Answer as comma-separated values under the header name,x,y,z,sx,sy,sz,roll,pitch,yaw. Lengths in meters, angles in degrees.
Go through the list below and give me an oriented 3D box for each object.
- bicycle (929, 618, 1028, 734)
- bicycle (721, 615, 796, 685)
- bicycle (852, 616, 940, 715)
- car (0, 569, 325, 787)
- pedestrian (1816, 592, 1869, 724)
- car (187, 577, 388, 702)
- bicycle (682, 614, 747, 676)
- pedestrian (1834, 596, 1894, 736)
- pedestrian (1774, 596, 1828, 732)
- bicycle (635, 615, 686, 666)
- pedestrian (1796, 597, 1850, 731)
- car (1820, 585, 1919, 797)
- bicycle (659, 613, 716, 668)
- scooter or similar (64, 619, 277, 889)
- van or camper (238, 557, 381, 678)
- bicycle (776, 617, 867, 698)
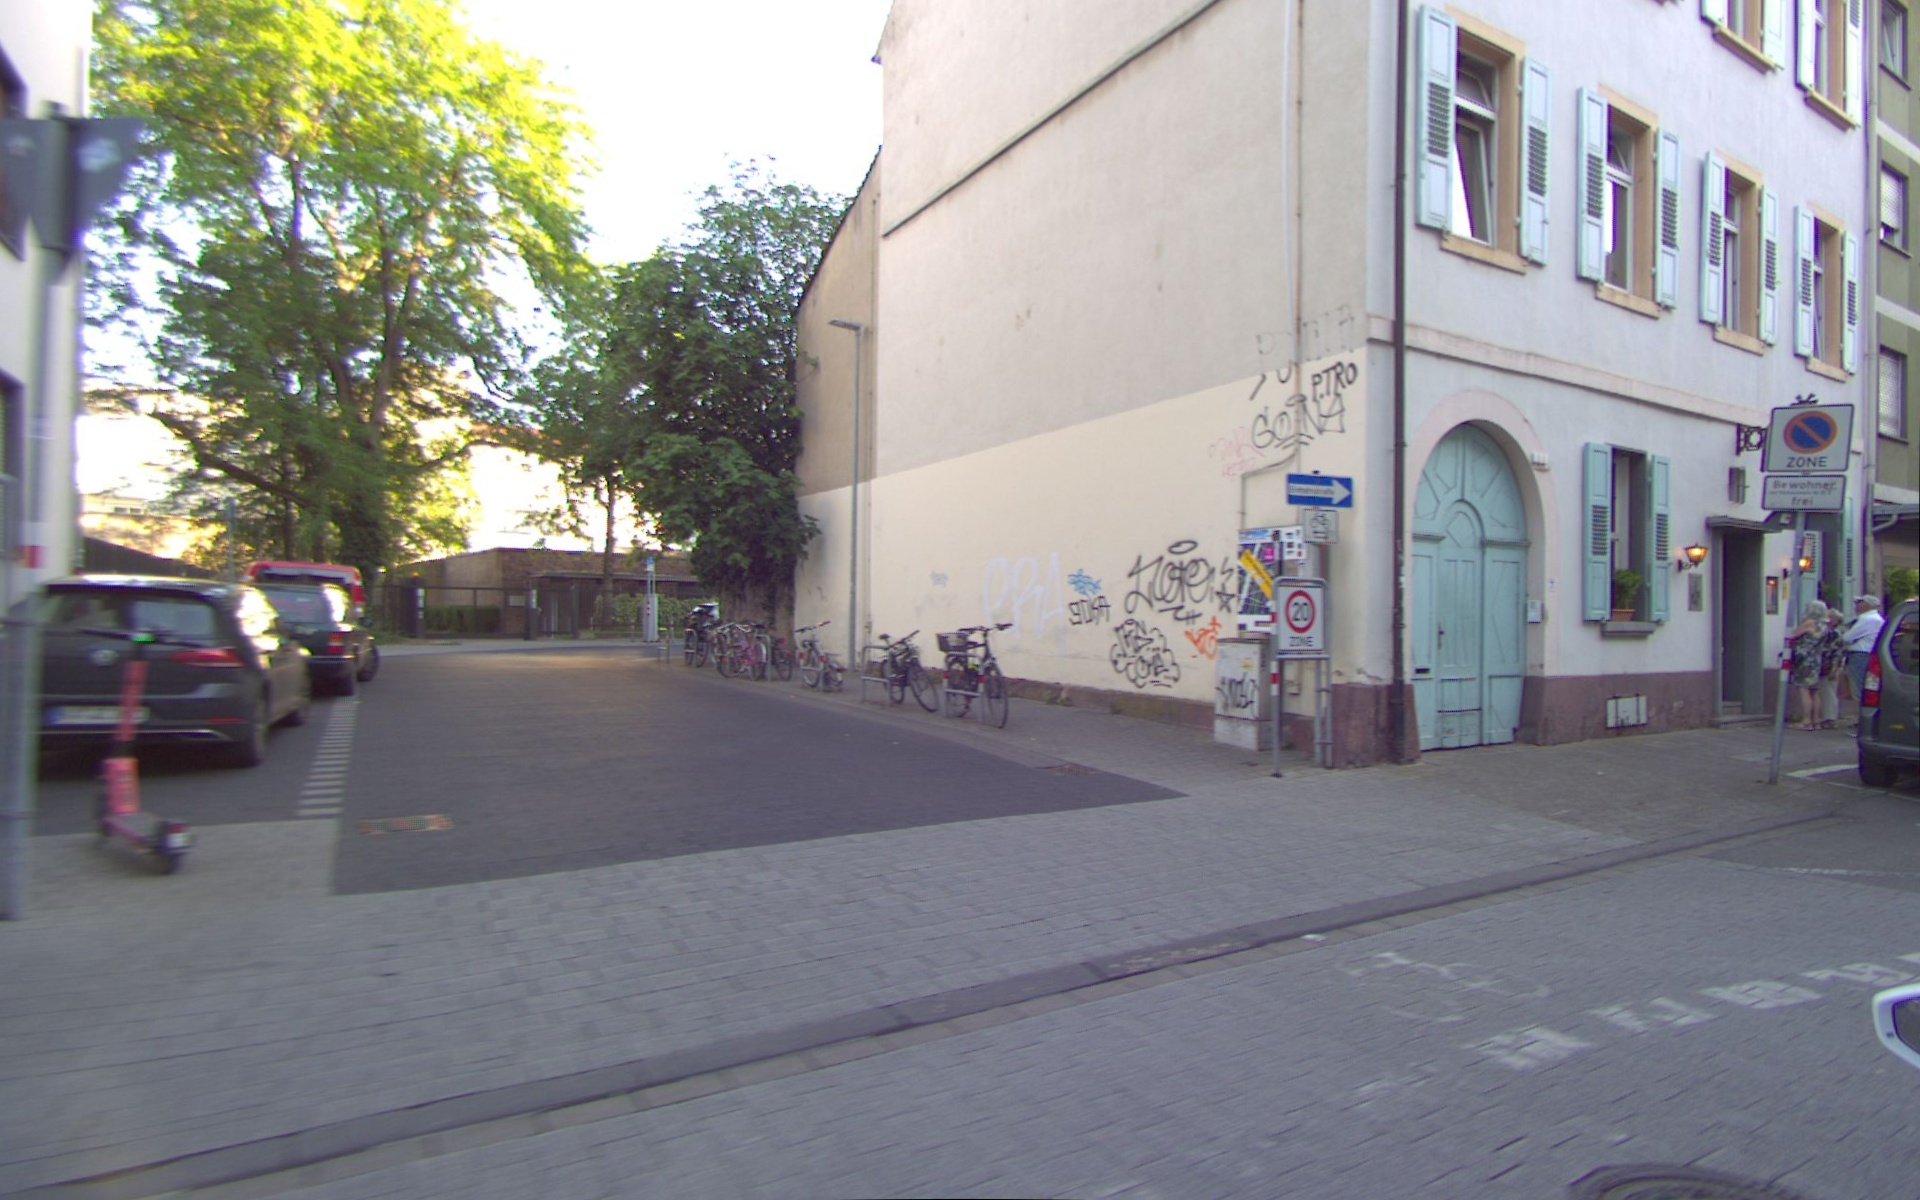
name,x,y,z,sx,sy,sz,roll,pitch,yaw
bicycle,0.178,0.847,11.896,0.617,1.233,1.926,1,-1,-16
bicycle,-3.681,0.879,18.206,0.621,1.171,1.914,1,-1,-34
bicycle,-0.905,0.848,13.688,0.618,1.233,1.923,1,-1,-22
car,-6.787,0.528,8.773,1.706,1.459,3.943,1,0,-27
pedestrian,12.147,0.790,13.827,0.464,1.773,0.404,1,0,-30
car,-9.210,0.497,14.094,1.706,1.459,4.240,3,-1,-26
bicycle,-4.948,0.878,20.171,0.621,1.171,1.914,1,-1,-35
pedestrian,11.695,0.842,12.998,0.464,1.773,0.447,1,0,-29
pedestrian,11.149,0.836,13.319,0.464,1.773,0.404,1,0,-30
bicycle,-7.353,0.977,24.629,0.621,1.171,1.914,1,-1,-34
pedestrian,11.646,0.847,13.560,0.464,1.773,0.404,1,0,-30
car,10.286,0.829,9.744,4.405,1.835,1.865,1,0,-34
bicycle,-6.099,0.882,22.422,0.621,1.171,1.914,1,-1,-34
scooter or similar,-4.304,0.757,5.451,1.343,1.217,0.531,4,1,36
van or camper,-12.074,0.301,18.710,1.916,1.934,4.666,3,-1,-33
bicycle,-2.222,0.879,15.894,0.621,1.171,1.914,1,-1,-34
